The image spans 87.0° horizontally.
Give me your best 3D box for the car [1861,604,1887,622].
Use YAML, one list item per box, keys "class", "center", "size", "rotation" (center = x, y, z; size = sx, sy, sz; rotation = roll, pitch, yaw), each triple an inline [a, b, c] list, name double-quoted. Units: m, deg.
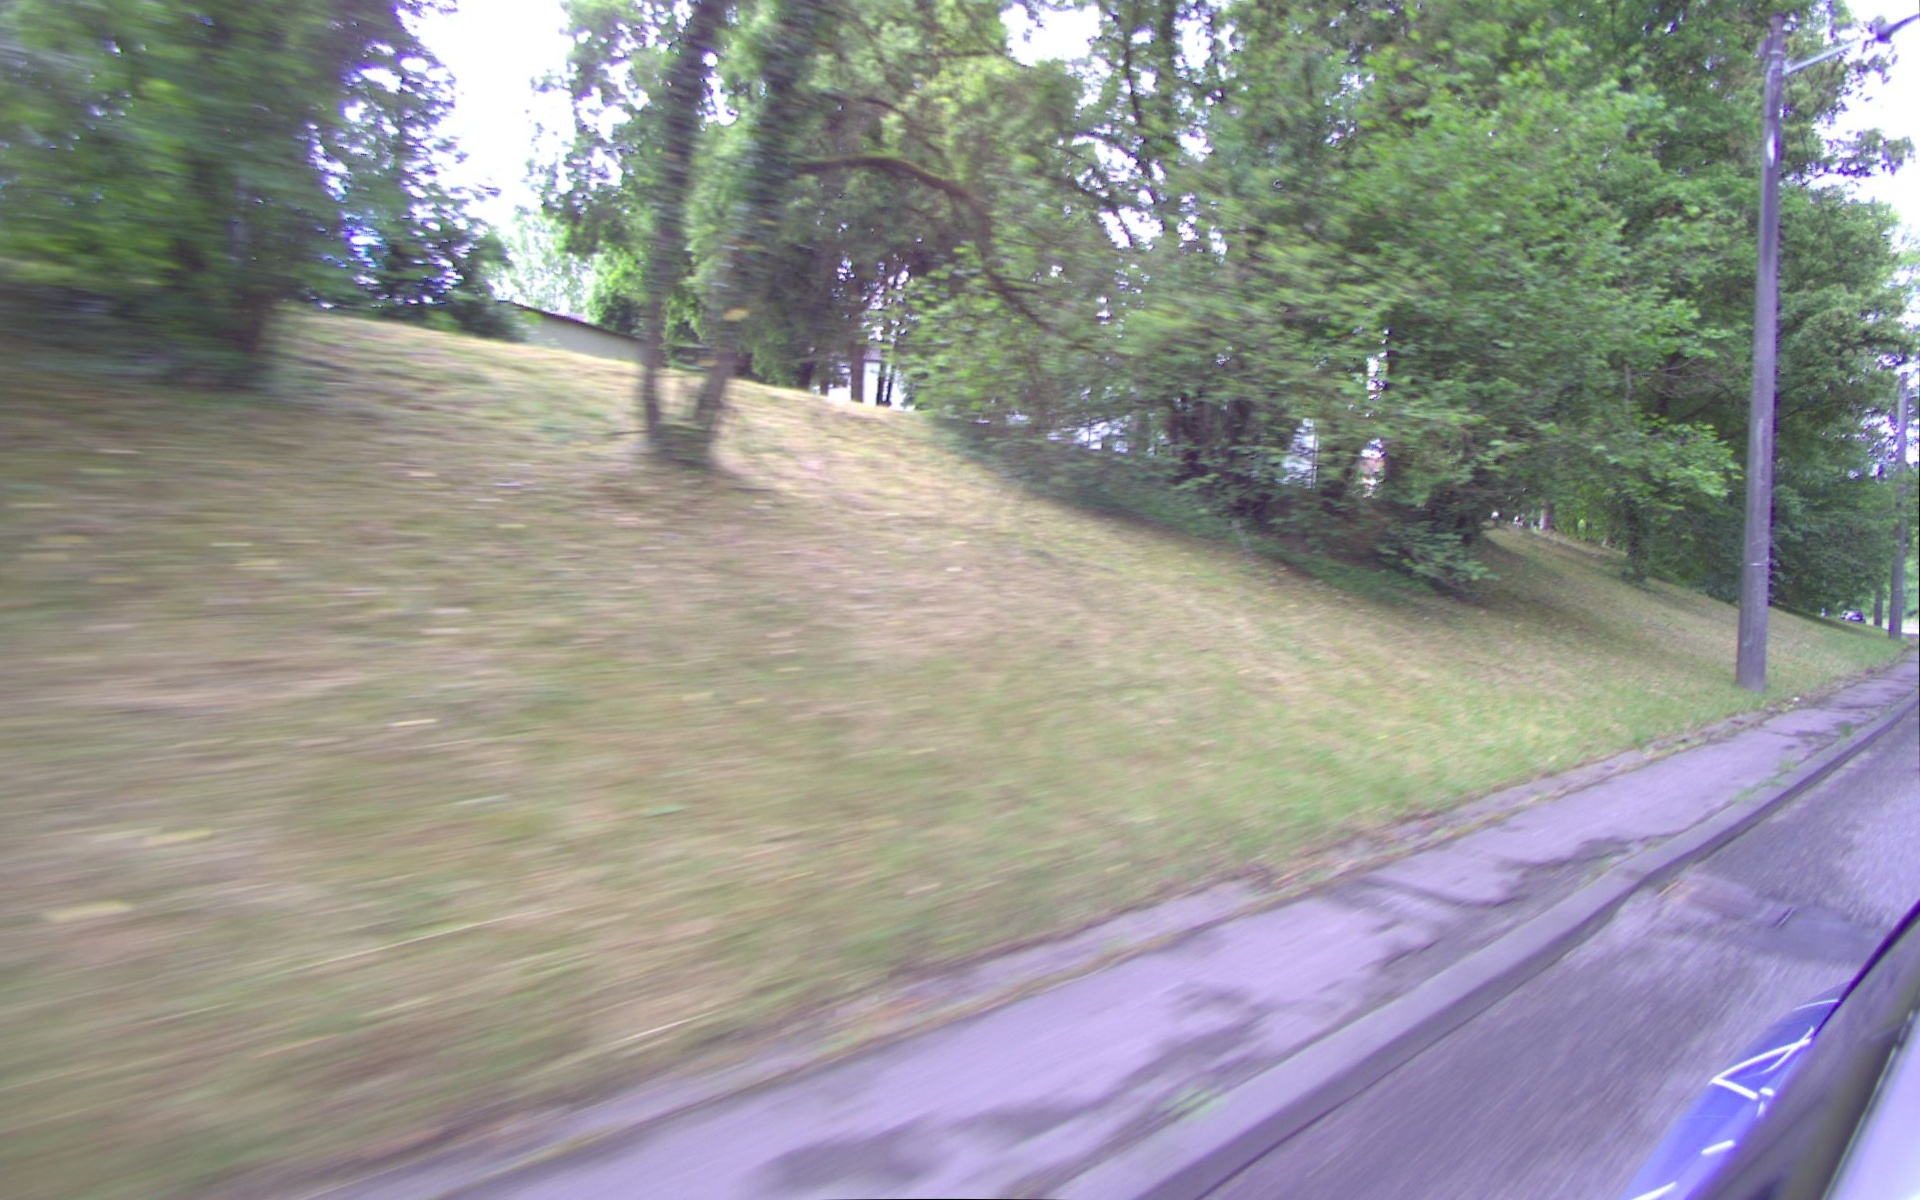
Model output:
- class: "car"
  center: [86.370, 1.246, 95.686]
  size: [1.660, 1.514, 3.266]
  rotation: [1, -1, 39]
